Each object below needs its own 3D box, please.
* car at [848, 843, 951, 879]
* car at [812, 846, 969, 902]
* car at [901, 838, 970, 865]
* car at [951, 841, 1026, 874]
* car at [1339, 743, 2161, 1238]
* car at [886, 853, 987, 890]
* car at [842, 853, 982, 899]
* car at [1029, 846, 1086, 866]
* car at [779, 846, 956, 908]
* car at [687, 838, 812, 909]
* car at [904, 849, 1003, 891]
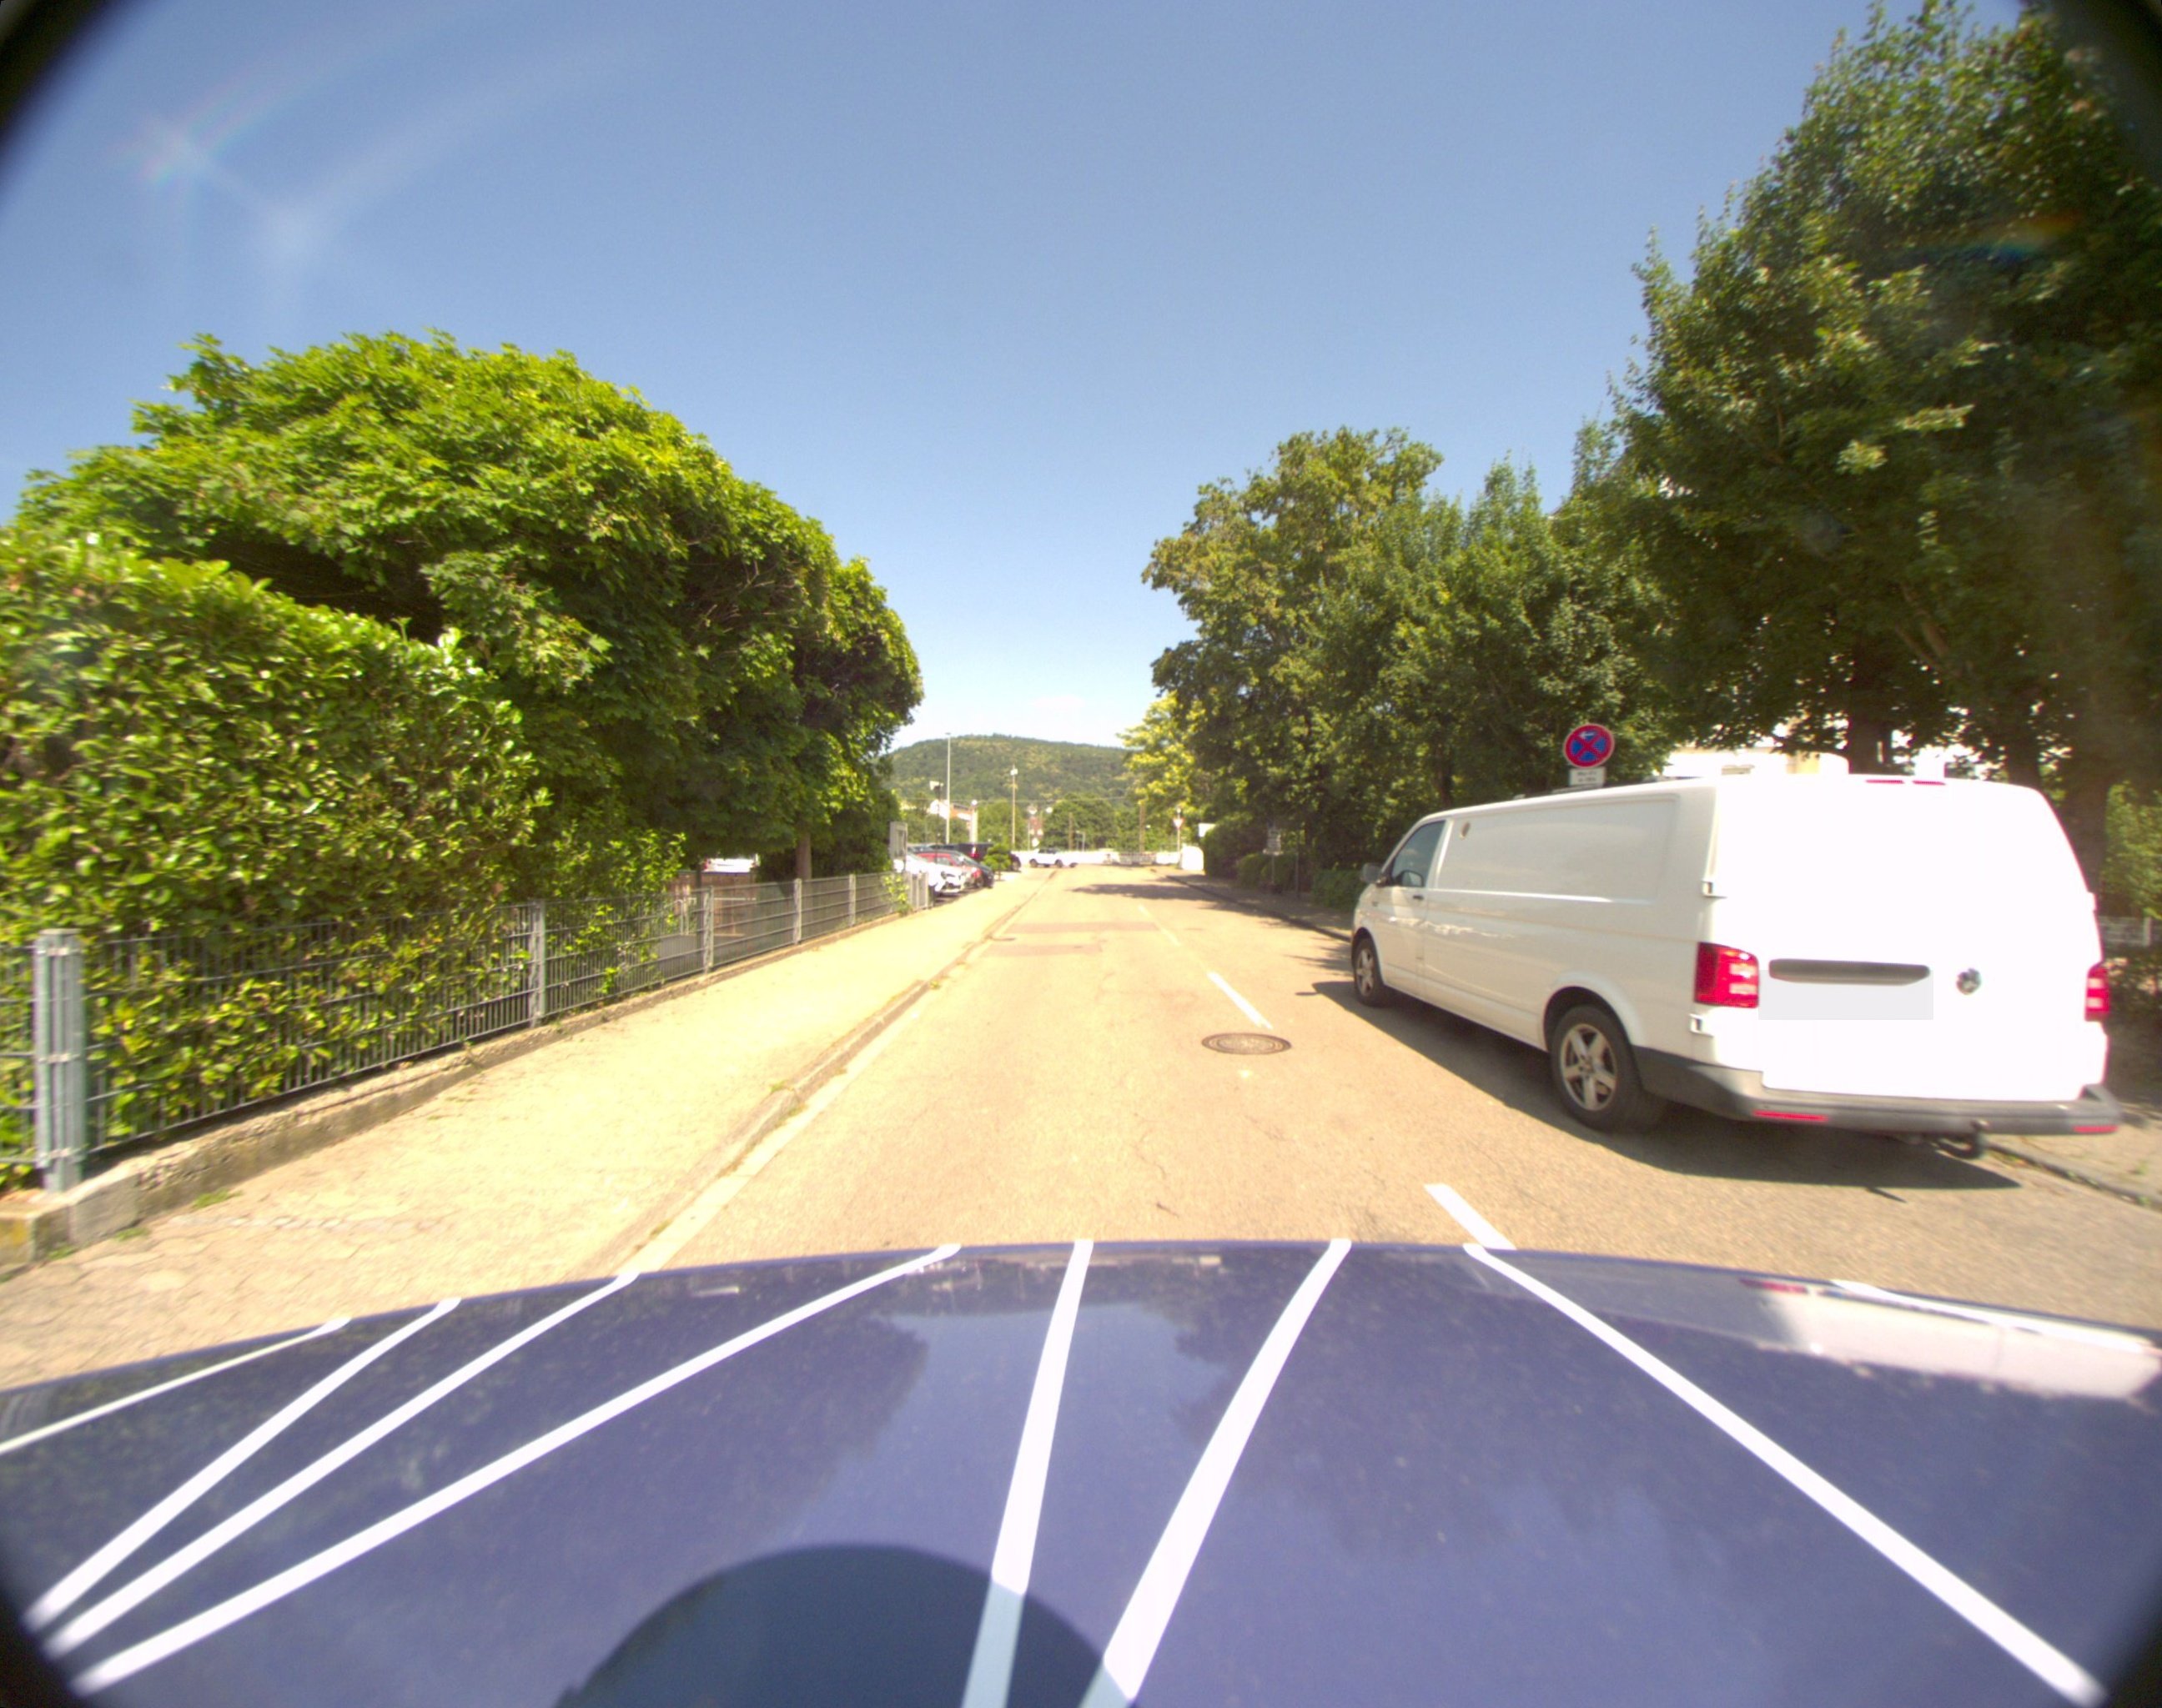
[{"bbox_3d":[-9.348,0.336,39.078,4.984,1.752,1.928,0,1,24],"label":"car"},{"bbox_3d":[-5.830,0.582,23.713,4.415,1.519,1.896,2,2,-2],"label":"car"},{"bbox_3d":[-9.606,-0.208,50.619,2.012,1.682,4.826,1,1,27],"label":"car"},{"bbox_3d":[-5.300,0.152,43.925,1.847,1.772,4.299,2,2,36],"label":"car"},{"bbox_3d":[3.783,0.534,5.655,1.976,2.002,5.055,2,1,0],"label":"car"},{"bbox_3d":[-5.449,0.647,28.966,3.558,1.327,1.558,0,1,-1],"label":"car"},{"bbox_3d":[-5.764,0.740,26.344,4.414,1.488,1.897,0,1,-1],"label":"car"},{"bbox_3d":[-1.863,0.146,59.528,4.157,1.412,1.901,3,2,35],"label":"car"},{"bbox_3d":[-5.845,0.599,21.228,4.415,1.644,1.843,0,1,-2],"label":"car"},{"bbox_3d":[-9.608,0.480,22.390,1.999,1.849,3.787,-1,2,0],"label":"car"},{"bbox_3d":[-5.271,0.641,31.717,3.812,1.614,1.759,-2,0,-1],"label":"car"}]
